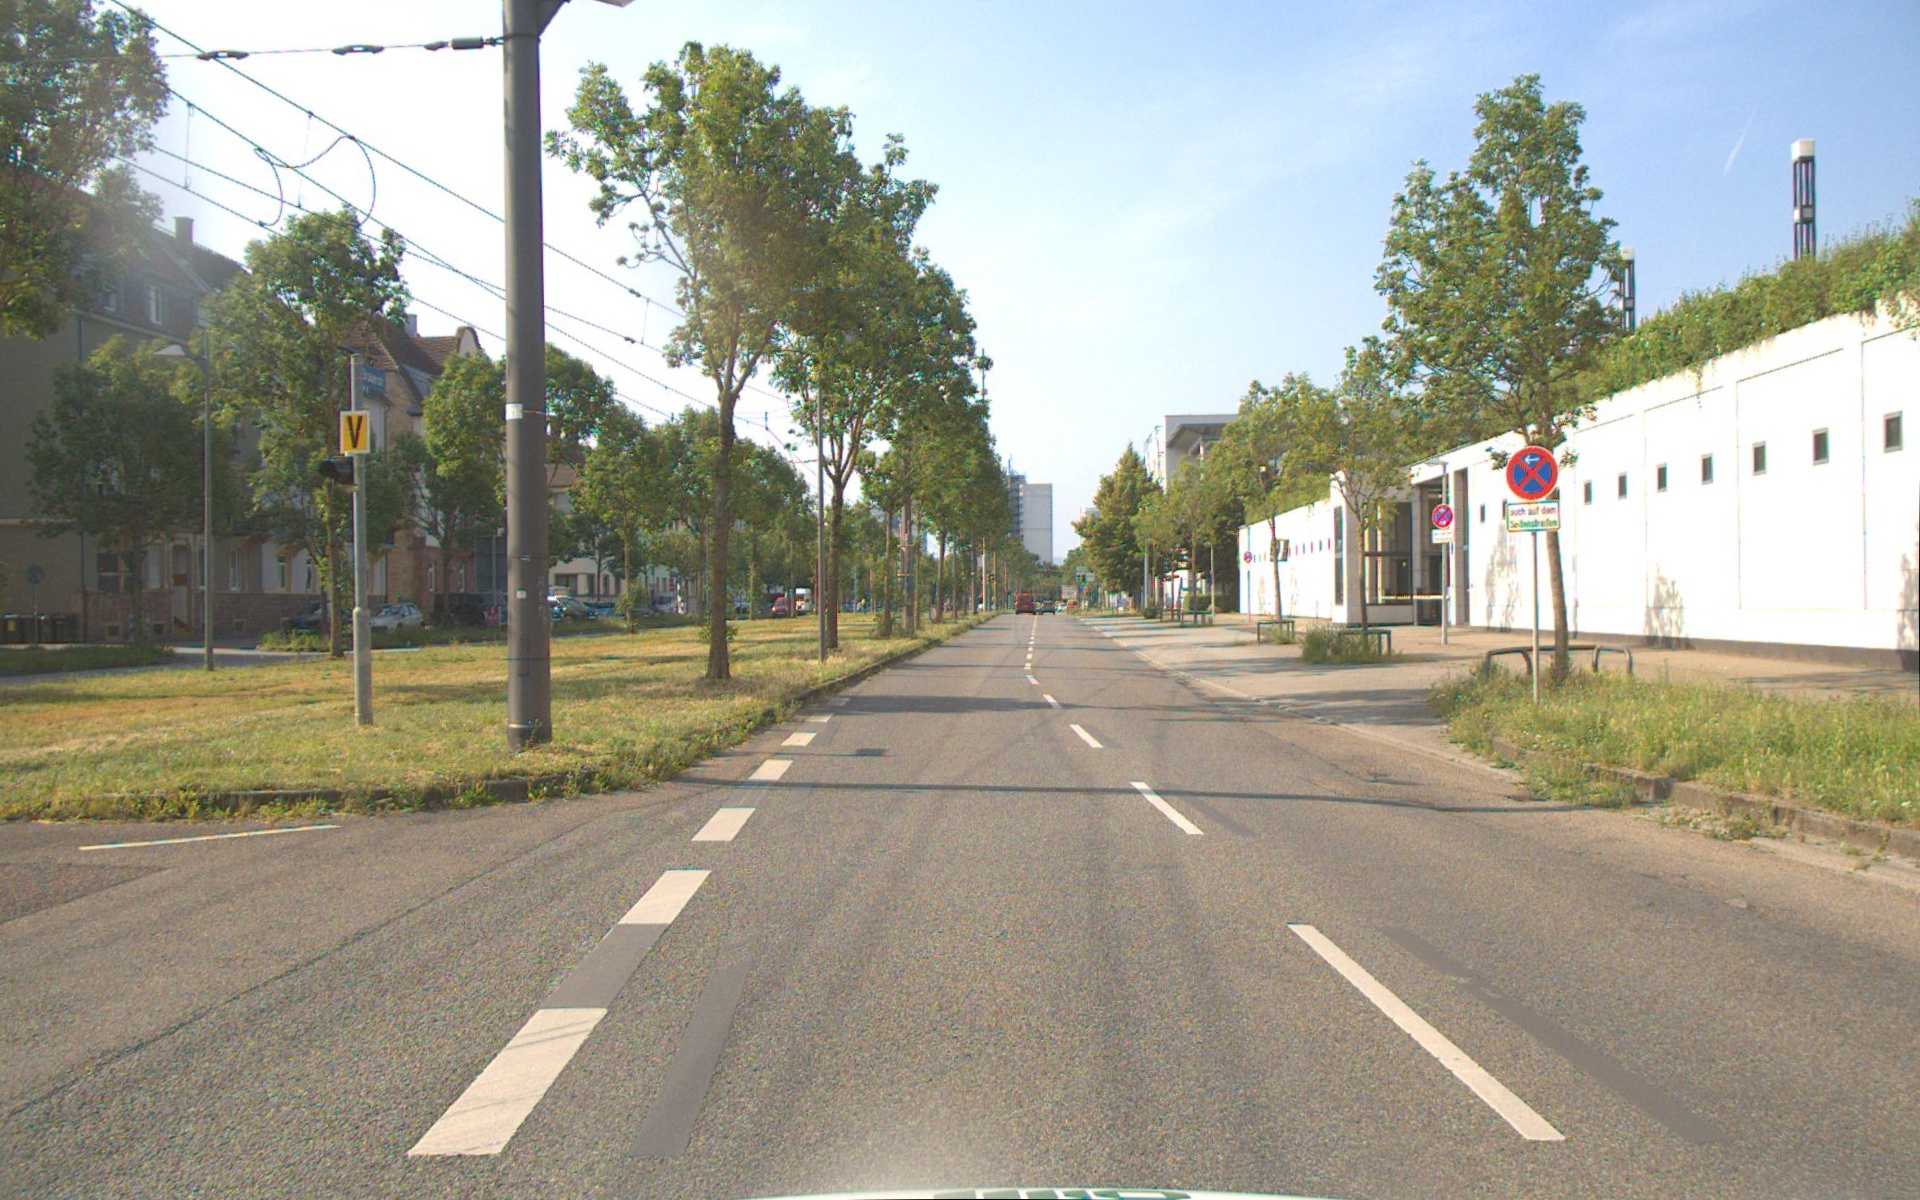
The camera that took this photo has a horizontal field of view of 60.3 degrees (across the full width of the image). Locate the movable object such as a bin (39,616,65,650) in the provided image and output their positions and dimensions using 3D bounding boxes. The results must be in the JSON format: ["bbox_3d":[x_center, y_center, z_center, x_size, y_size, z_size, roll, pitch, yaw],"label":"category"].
[{"bbox_3d":[-33.412,1.220,60.858,0.573,1.232,0.640,1,-1,1],"label":"movable object such as a bin"}]

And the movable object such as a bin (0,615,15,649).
[{"bbox_3d":[-35.316,1.175,60.921,0.573,1.232,0.640,1,-1,1],"label":"movable object such as a bin"}]

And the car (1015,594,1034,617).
[{"bbox_3d":[6.023,0.494,154.619,1.711,2.049,3.217,1,0,4],"label":"car"}]

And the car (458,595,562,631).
[{"bbox_3d":[-22.285,0.615,81.838,5.113,1.652,2.051,1,0,33],"label":"car"}]

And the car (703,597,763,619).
[{"bbox_3d":[-19.745,0.703,143.846,5.222,1.768,1.992,1,-1,37],"label":"car"}]

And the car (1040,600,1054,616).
[{"bbox_3d":[11.027,1.018,208.606,1.711,2.049,3.217,1,0,4],"label":"car"}]

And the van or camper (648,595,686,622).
[{"bbox_3d":[-26.405,0.759,149.193,1.951,2.369,5.831,1,0,5],"label":"van or camper"}]

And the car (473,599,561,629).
[{"bbox_3d":[-22.706,0.728,84.743,4.384,1.444,1.969,1,0,34],"label":"car"}]

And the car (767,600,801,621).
[{"bbox_3d":[-14.686,0.896,138.160,1.923,1.723,4.300,1,0,6],"label":"car"}]

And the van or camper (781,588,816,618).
[{"bbox_3d":[-14.142,0.263,145.097,2.157,2.575,6.031,1,0,2],"label":"van or camper"}]

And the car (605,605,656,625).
[{"bbox_3d":[-20.912,0.956,104.944,3.101,1.181,1.491,1,0,35],"label":"car"}]

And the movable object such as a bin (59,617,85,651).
[{"bbox_3d":[-32.708,1.237,60.918,0.573,1.232,0.640,1,-1,1],"label":"movable object such as a bin"}]

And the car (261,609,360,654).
[{"bbox_3d":[-25.858,1.209,66.016,1.952,1.657,4.776,1,0,1],"label":"car"}]

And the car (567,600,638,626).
[{"bbox_3d":[-21.217,0.763,98.238,3.905,1.442,1.577,1,0,22],"label":"car"}]

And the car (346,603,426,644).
[{"bbox_3d":[-24.988,1.008,72.159,1.850,1.657,4.157,1,0,2],"label":"car"}]

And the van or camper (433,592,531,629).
[{"bbox_3d":[-22.978,0.508,79.413,4.753,1.652,1.995,1,0,36],"label":"van or camper"}]

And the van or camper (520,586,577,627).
[{"bbox_3d":[-27.708,0.427,111.498,1.996,2.612,6.358,1,0,2],"label":"van or camper"}]
